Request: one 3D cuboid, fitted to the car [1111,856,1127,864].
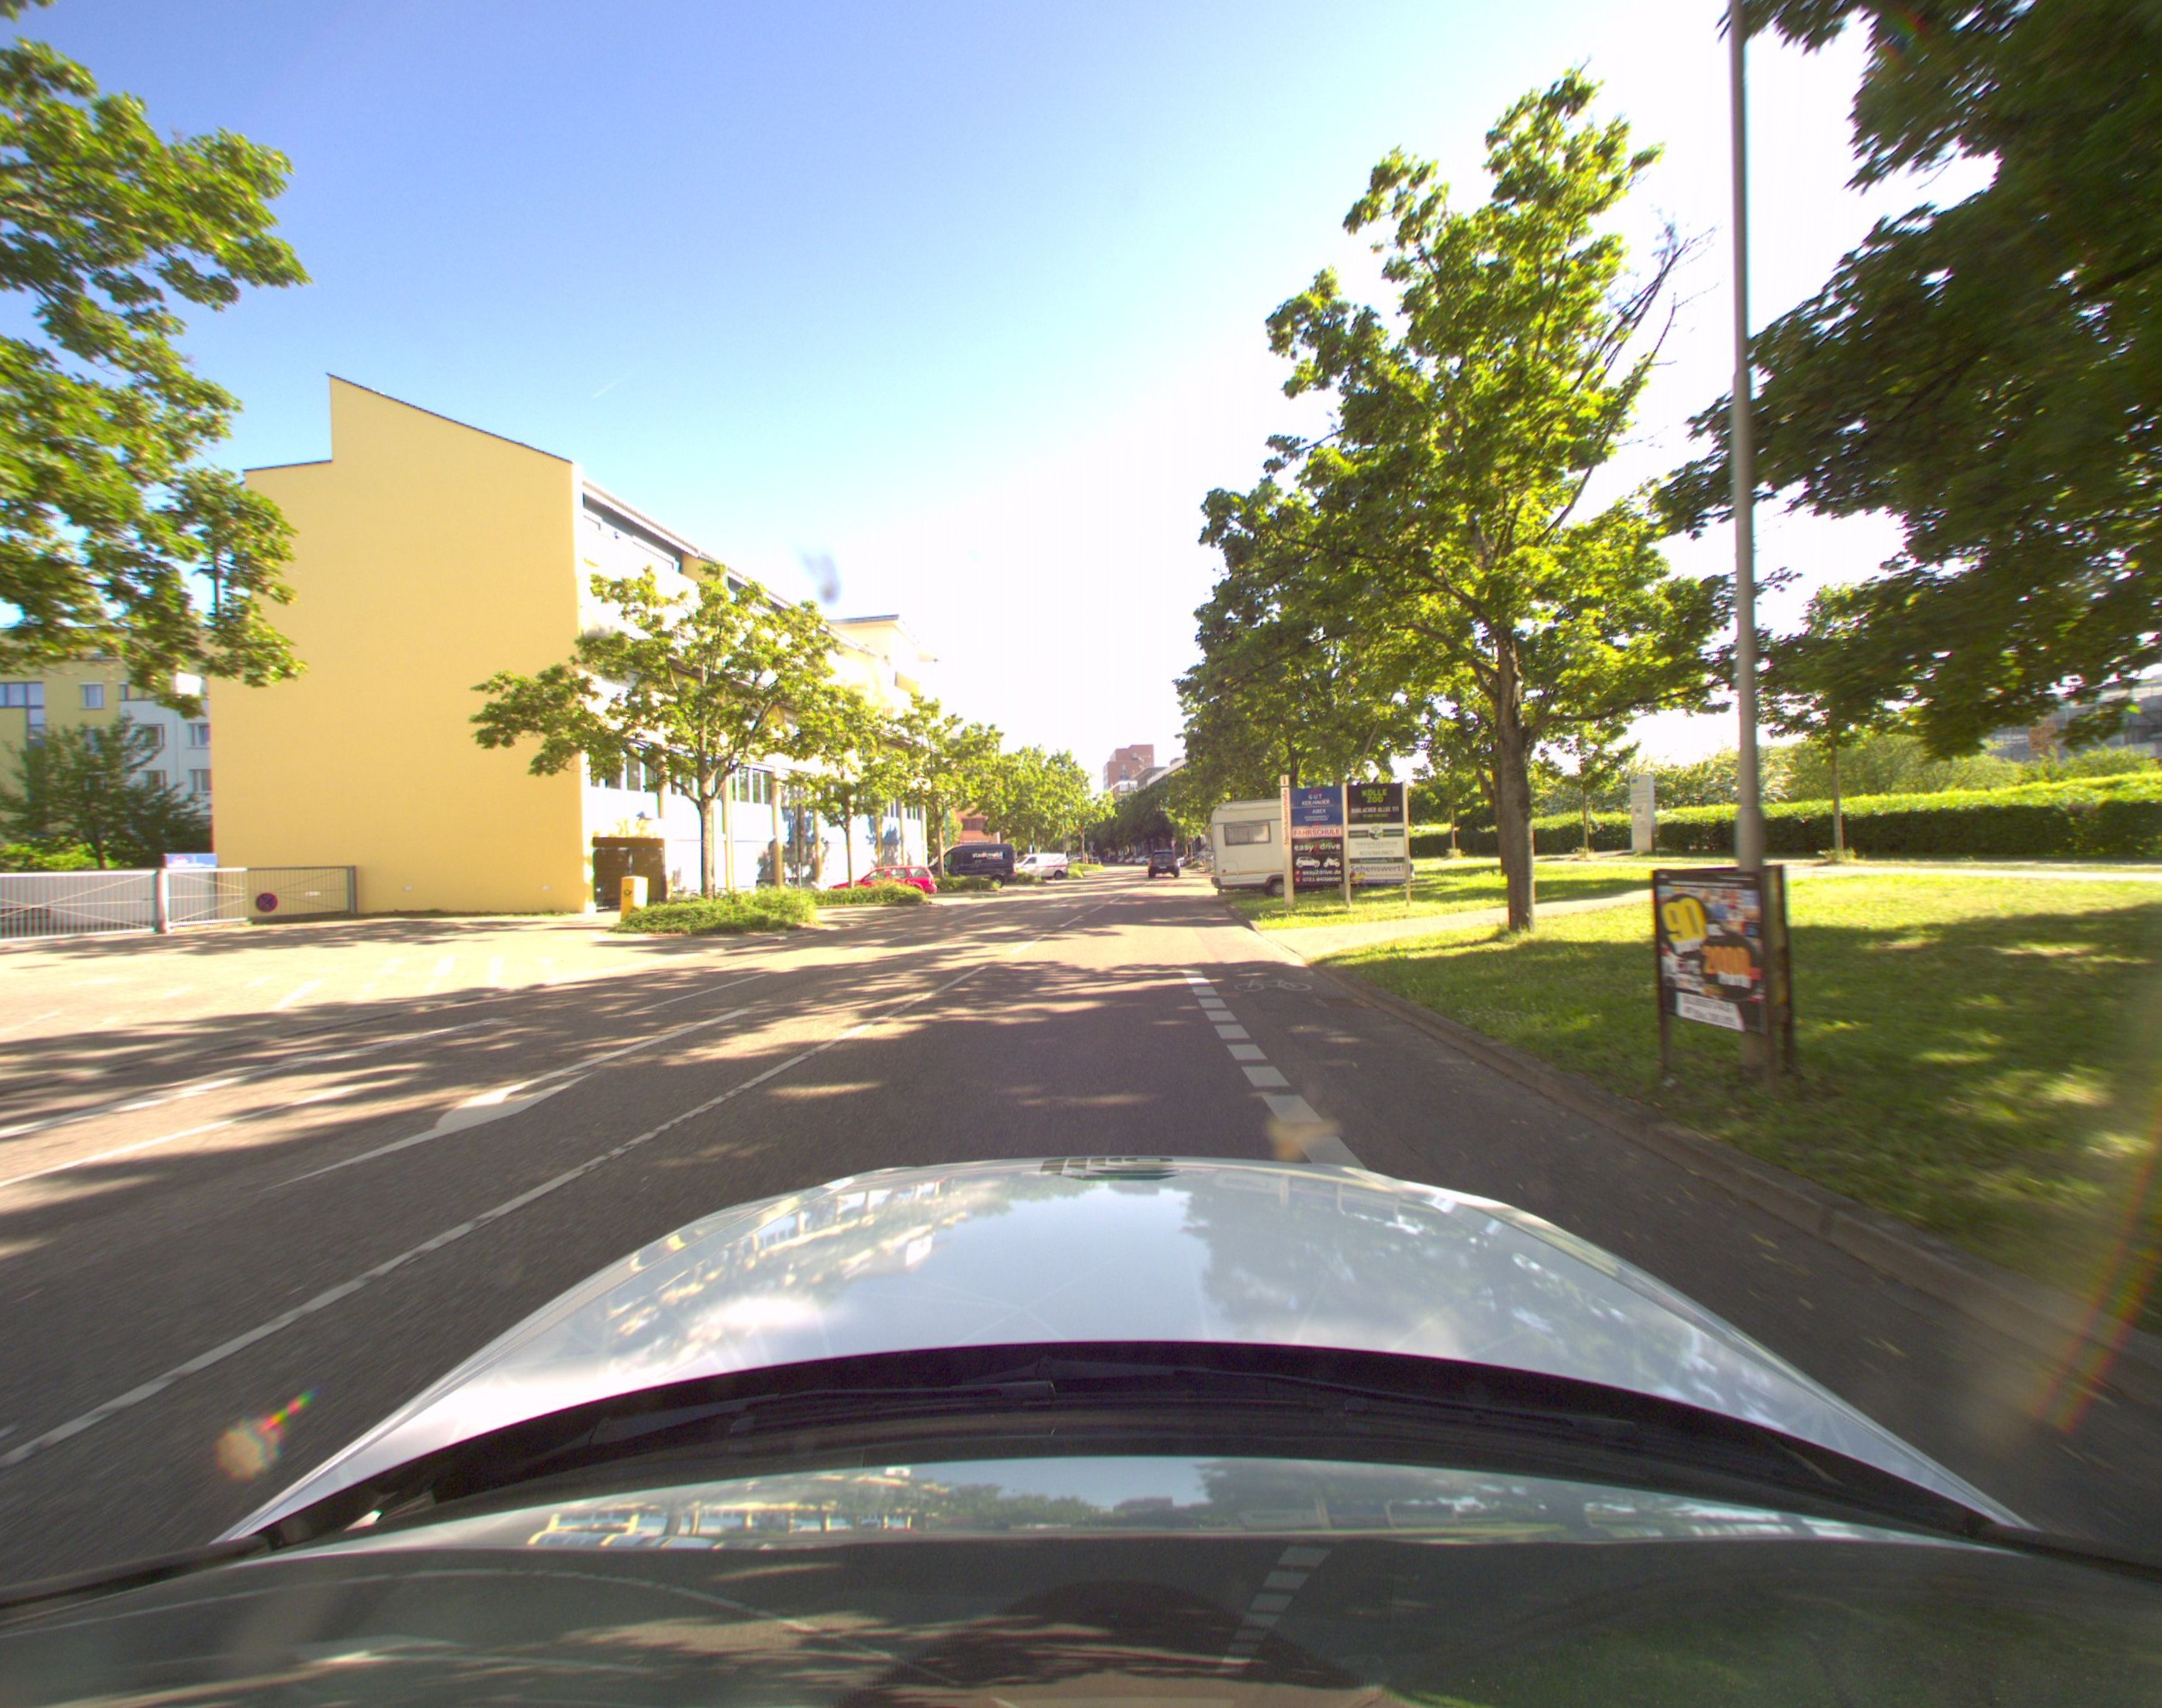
[{"bbox_3d":[7.711,1.283,166.379,3.205,1.410,1.262,-5,-1,-2],"label":"car"}]

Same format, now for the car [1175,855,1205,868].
[{"bbox_3d":[12.342,0.829,92.124,3.227,1.277,1.519,-5,0,6],"label":"car"}]

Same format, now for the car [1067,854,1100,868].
[{"bbox_3d":[0.330,0.884,98.748,3.873,1.365,1.409,-5,0,-2],"label":"car"}]

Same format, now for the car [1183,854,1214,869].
[{"bbox_3d":[12.662,0.800,87.857,3.227,1.277,1.519,-5,0,6],"label":"car"}]

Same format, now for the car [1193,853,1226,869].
[{"bbox_3d":[13.378,0.760,84.783,3.227,1.397,1.519,-5,0,6],"label":"car"}]

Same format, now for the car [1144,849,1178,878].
[{"bbox_3d":[5.558,0.626,55.997,2.121,1.835,4.951,-2,0,7],"label":"car"}]

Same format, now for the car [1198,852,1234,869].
[{"bbox_3d":[12.706,0.604,76.798,3.227,1.397,1.519,-5,0,6],"label":"car"}]

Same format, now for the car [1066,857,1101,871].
[{"bbox_3d":[0.280,1.193,95.453,3.873,1.365,1.409,-5,0,-2],"label":"car"}]

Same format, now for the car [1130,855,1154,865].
[{"bbox_3d":[10.261,0.969,137.551,3.936,1.397,1.515,-5,0,-2],"label":"car"}]

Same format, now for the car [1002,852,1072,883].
[{"bbox_3d":[-3.309,1.014,61.733,4.911,2.083,1.968,-2,-1,-27],"label":"car"}]

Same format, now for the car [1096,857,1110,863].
[{"bbox_3d":[5.193,1.372,191.892,3.205,1.228,1.262,-5,0,-2],"label":"car"}]

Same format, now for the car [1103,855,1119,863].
[{"bbox_3d":[6.185,1.130,168.897,3.270,1.397,1.515,-5,0,-2],"label":"car"}]

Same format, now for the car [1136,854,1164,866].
[{"bbox_3d":[10.326,0.880,122.544,3.936,1.397,1.515,-5,0,-2],"label":"car"}]

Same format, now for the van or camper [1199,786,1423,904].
[{"bbox_3d":[6.789,-0.245,24.838,6.047,2.928,2.580,-5,-1,6],"label":"van or camper"}]

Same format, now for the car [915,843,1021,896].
[{"bbox_3d":[-6.076,0.822,43.723,5.275,2.545,1.973,-2,-1,-18],"label":"car"}]

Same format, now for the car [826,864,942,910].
[{"bbox_3d":[-8.012,1.298,33.091,4.418,1.552,1.910,-3,-1,-17],"label":"car"}]

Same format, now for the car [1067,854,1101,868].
[{"bbox_3d":[0.321,0.789,93.683,3.873,1.365,1.409,-5,0,-2],"label":"car"}]

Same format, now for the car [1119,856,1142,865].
[{"bbox_3d":[8.849,1.165,146.624,3.936,1.397,1.515,-5,0,-2],"label":"car"}]
